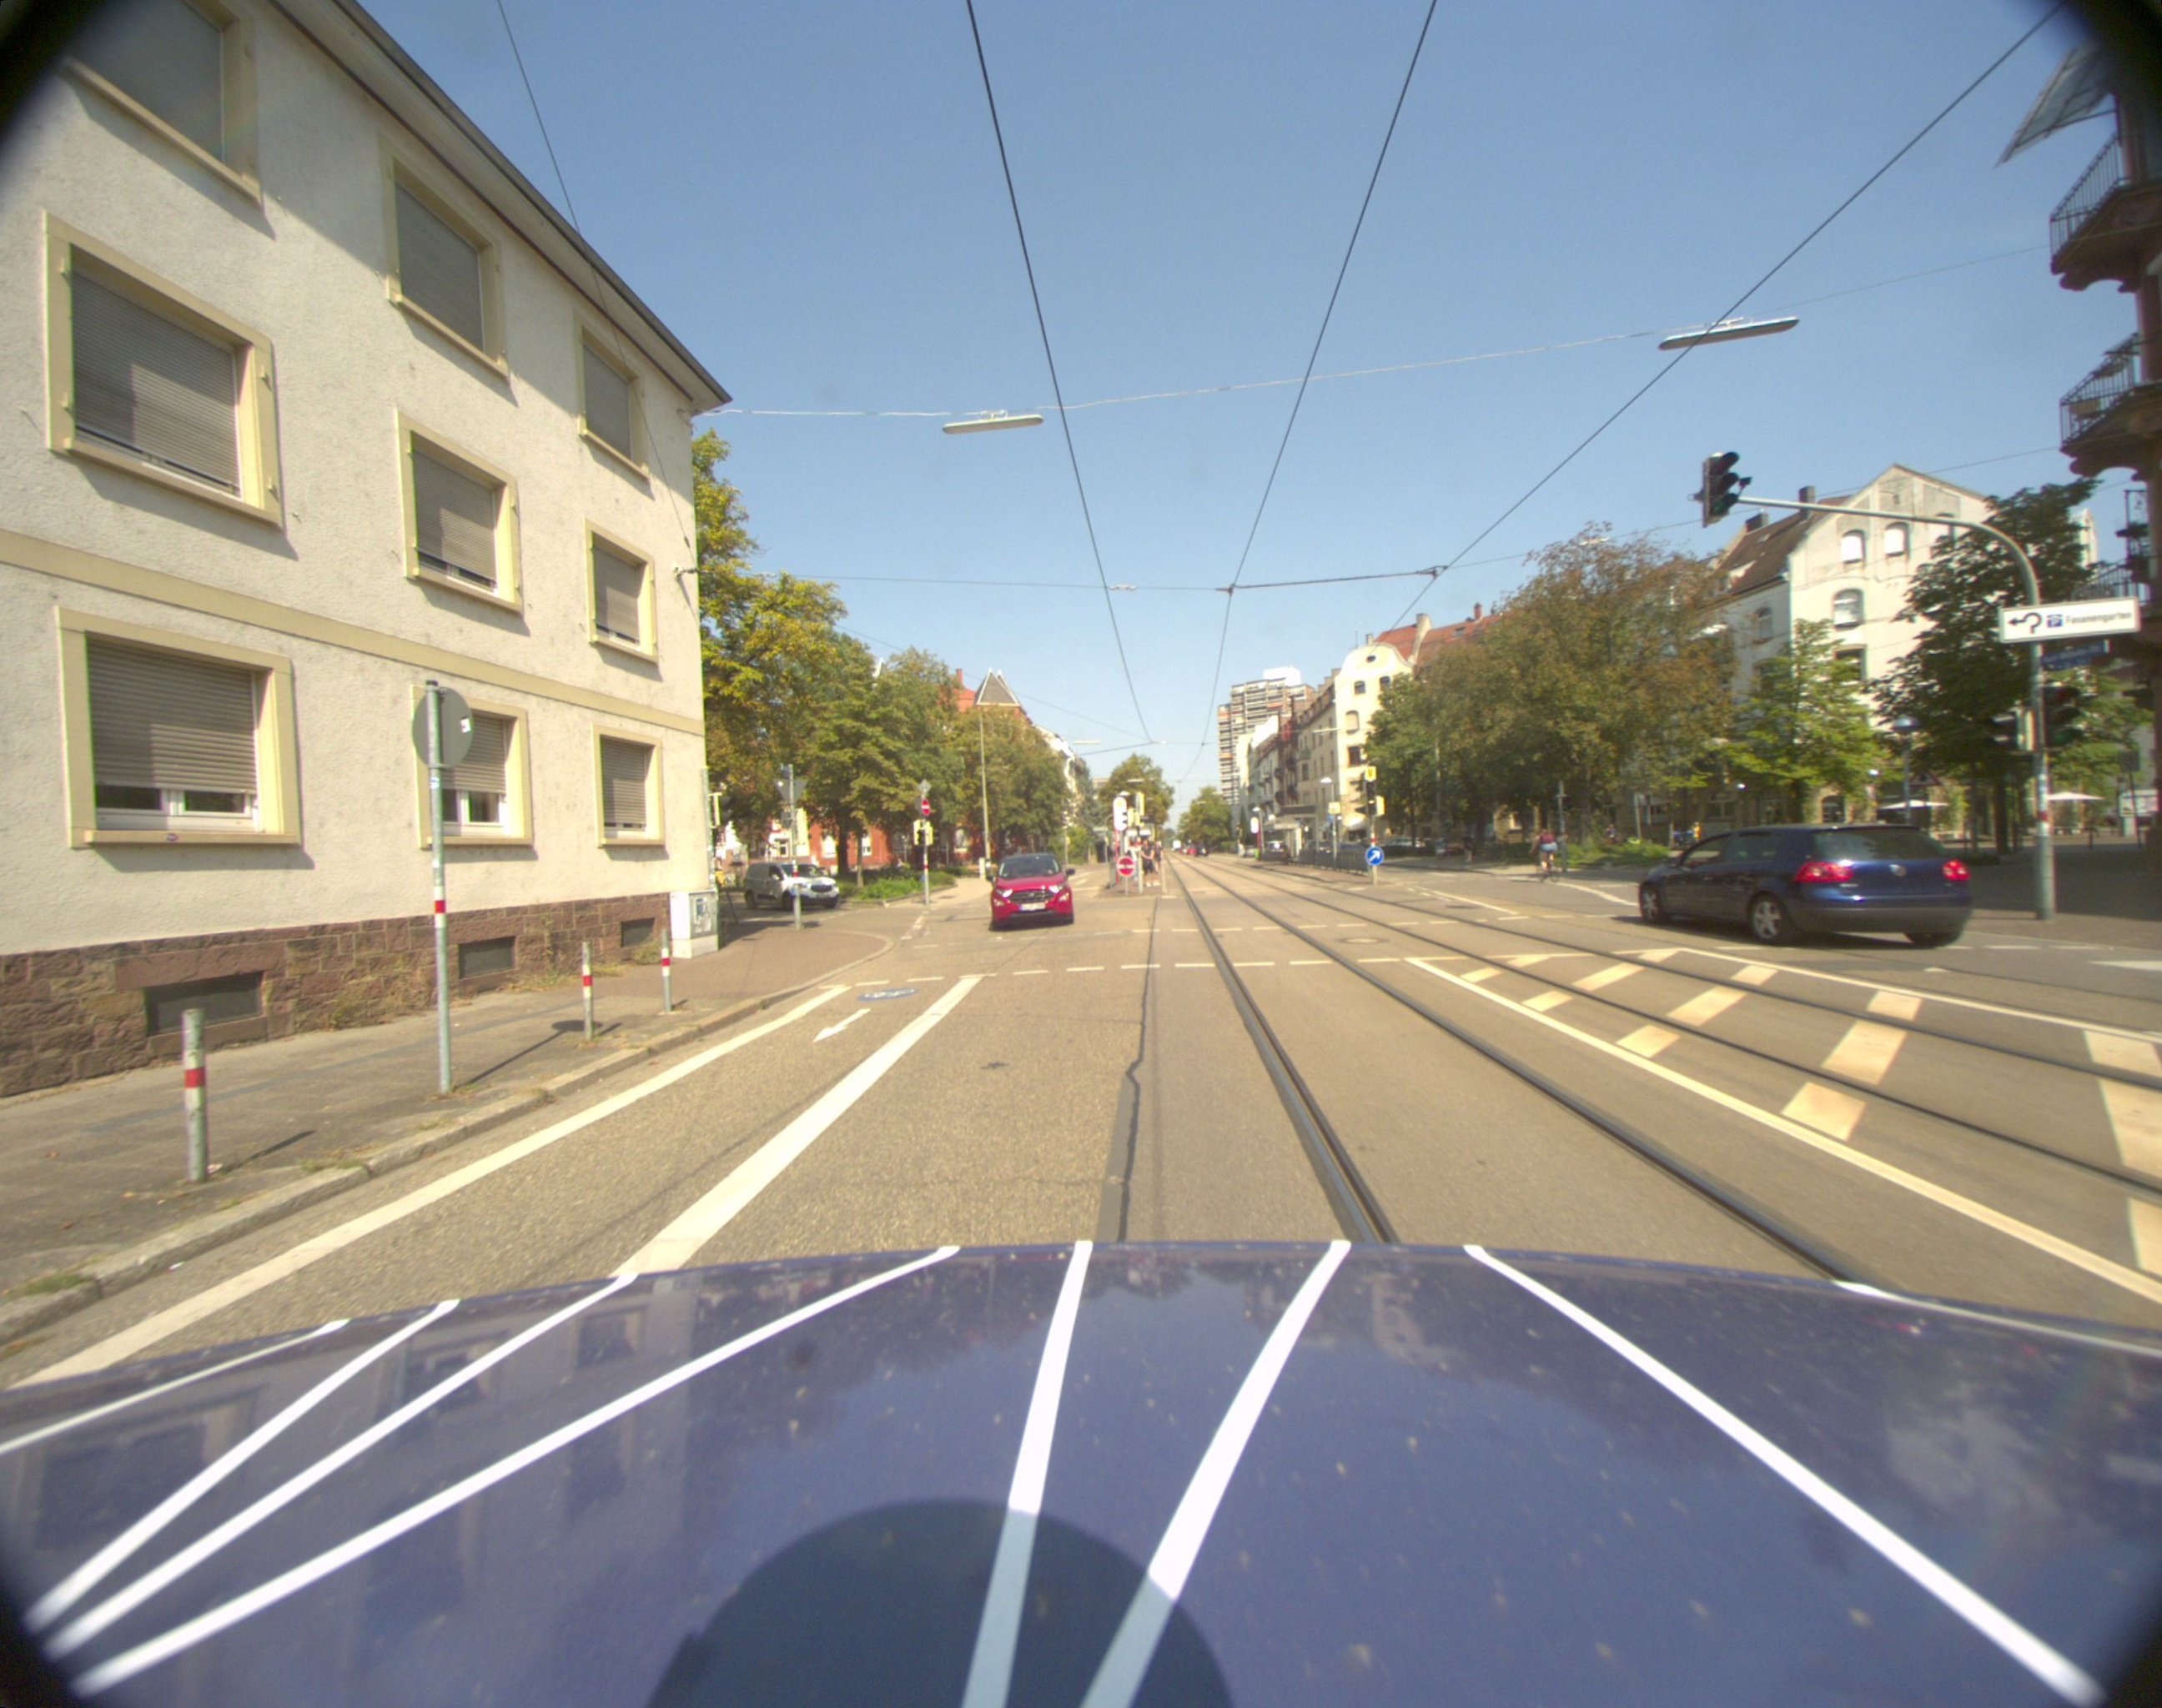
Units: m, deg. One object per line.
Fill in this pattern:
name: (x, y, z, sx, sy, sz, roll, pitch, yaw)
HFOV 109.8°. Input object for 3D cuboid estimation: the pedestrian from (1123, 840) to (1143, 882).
pedestrian: (2.430, 0.314, 35.446, 0.674, 1.874, 0.924, -3, 0, 17)

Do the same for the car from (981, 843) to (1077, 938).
car: (-1.063, 0.755, 17.651, 1.803, 1.801, 4.416, -5, 0, 0)

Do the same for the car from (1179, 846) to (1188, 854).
car: (22.702, -0.959, 168.562, 1.997, 1.716, 4.633, -2, 0, 7)

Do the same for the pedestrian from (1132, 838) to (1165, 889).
pedestrian: (2.575, 0.354, 29.026, 0.924, 1.874, 0.674, -3, 0, -30)

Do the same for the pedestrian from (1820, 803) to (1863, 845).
pedestrian: (38.337, -1.498, 38.329, 1.035, 2.002, 1.095, -4, 1, 11)

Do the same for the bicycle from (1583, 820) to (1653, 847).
bicycle: (31.691, -1.176, 44.955, 1.223, 1.428, 3.482, -3, 0, -11)

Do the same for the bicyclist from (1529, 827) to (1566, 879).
bicyclist: (13.547, -0.025, 22.067, 0.582, 1.462, 0.776, -3, 0, 6)

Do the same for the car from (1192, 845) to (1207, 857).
car: (17.971, -0.434, 115.165, 1.997, 1.716, 4.633, -2, 0, 7)

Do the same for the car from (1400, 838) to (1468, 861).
car: (29.025, -0.370, 62.623, 2.004, 1.716, 4.618, -2, 0, -40)

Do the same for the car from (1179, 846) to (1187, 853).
car: (26.737, -1.195, 199.647, 1.997, 1.716, 4.633, -2, 0, 7)

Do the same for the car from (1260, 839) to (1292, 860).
car: (16.864, -0.380, 65.903, 1.997, 1.716, 4.633, -2, 0, 6)

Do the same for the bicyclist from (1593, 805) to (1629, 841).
bicyclist: (31.583, -1.836, 45.274, 1.210, 2.002, 1.210, -3, 2, -11)

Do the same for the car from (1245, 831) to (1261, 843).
car: (27.384, -2.698, 120.938, 1.997, 1.716, 4.633, -2, 0, 7)

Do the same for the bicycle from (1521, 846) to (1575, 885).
bicycle: (13.571, 0.326, 22.139, 0.582, 1.060, 1.844, -3, 0, 6)

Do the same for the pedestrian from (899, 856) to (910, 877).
pedestrian: (-16.376, 1.159, 70.418, 0.676, 1.874, 0.921, -3, 0, -34)

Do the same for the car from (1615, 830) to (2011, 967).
car: (9.176, 0.453, 10.116, 1.730, 1.425, 4.179, -1, 1, 9)

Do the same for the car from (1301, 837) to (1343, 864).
car: (15.923, -0.212, 50.361, 1.997, 1.638, 4.634, -2, 0, 9)

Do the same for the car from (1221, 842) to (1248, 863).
car: (13.359, -0.113, 66.270, 1.997, 1.716, 4.633, -2, 0, 7)

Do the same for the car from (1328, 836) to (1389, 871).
car: (14.423, -0.033, 39.741, 1.997, 1.638, 4.633, -2, 0, 8)

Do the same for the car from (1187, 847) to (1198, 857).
car: (21.137, -0.430, 144.252, 1.997, 1.716, 4.633, -2, 0, 7)

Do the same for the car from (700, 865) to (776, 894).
car: (-23.779, 1.762, 52.737, 1.799, 1.801, 4.425, -1, 0, 38)

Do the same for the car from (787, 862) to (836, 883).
car: (-25.283, 1.753, 71.360, 4.405, 1.801, 1.807, -3, 0, 30)

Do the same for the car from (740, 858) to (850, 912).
car: (-10.582, 1.145, 27.932, 4.404, 1.801, 1.808, -3, 0, 41)

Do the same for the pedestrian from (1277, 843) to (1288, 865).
pedestrian: (11.928, 0.006, 44.959, 0.479, 1.243, 0.649, -3, 0, 7)

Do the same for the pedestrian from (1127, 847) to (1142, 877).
pedestrian: (2.925, 0.421, 41.326, 0.738, 1.575, 0.854, -3, 0, 6)

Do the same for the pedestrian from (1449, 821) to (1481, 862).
pedestrian: (19.811, -0.627, 39.219, 1.093, 2.002, 1.037, -4, 1, 6)
